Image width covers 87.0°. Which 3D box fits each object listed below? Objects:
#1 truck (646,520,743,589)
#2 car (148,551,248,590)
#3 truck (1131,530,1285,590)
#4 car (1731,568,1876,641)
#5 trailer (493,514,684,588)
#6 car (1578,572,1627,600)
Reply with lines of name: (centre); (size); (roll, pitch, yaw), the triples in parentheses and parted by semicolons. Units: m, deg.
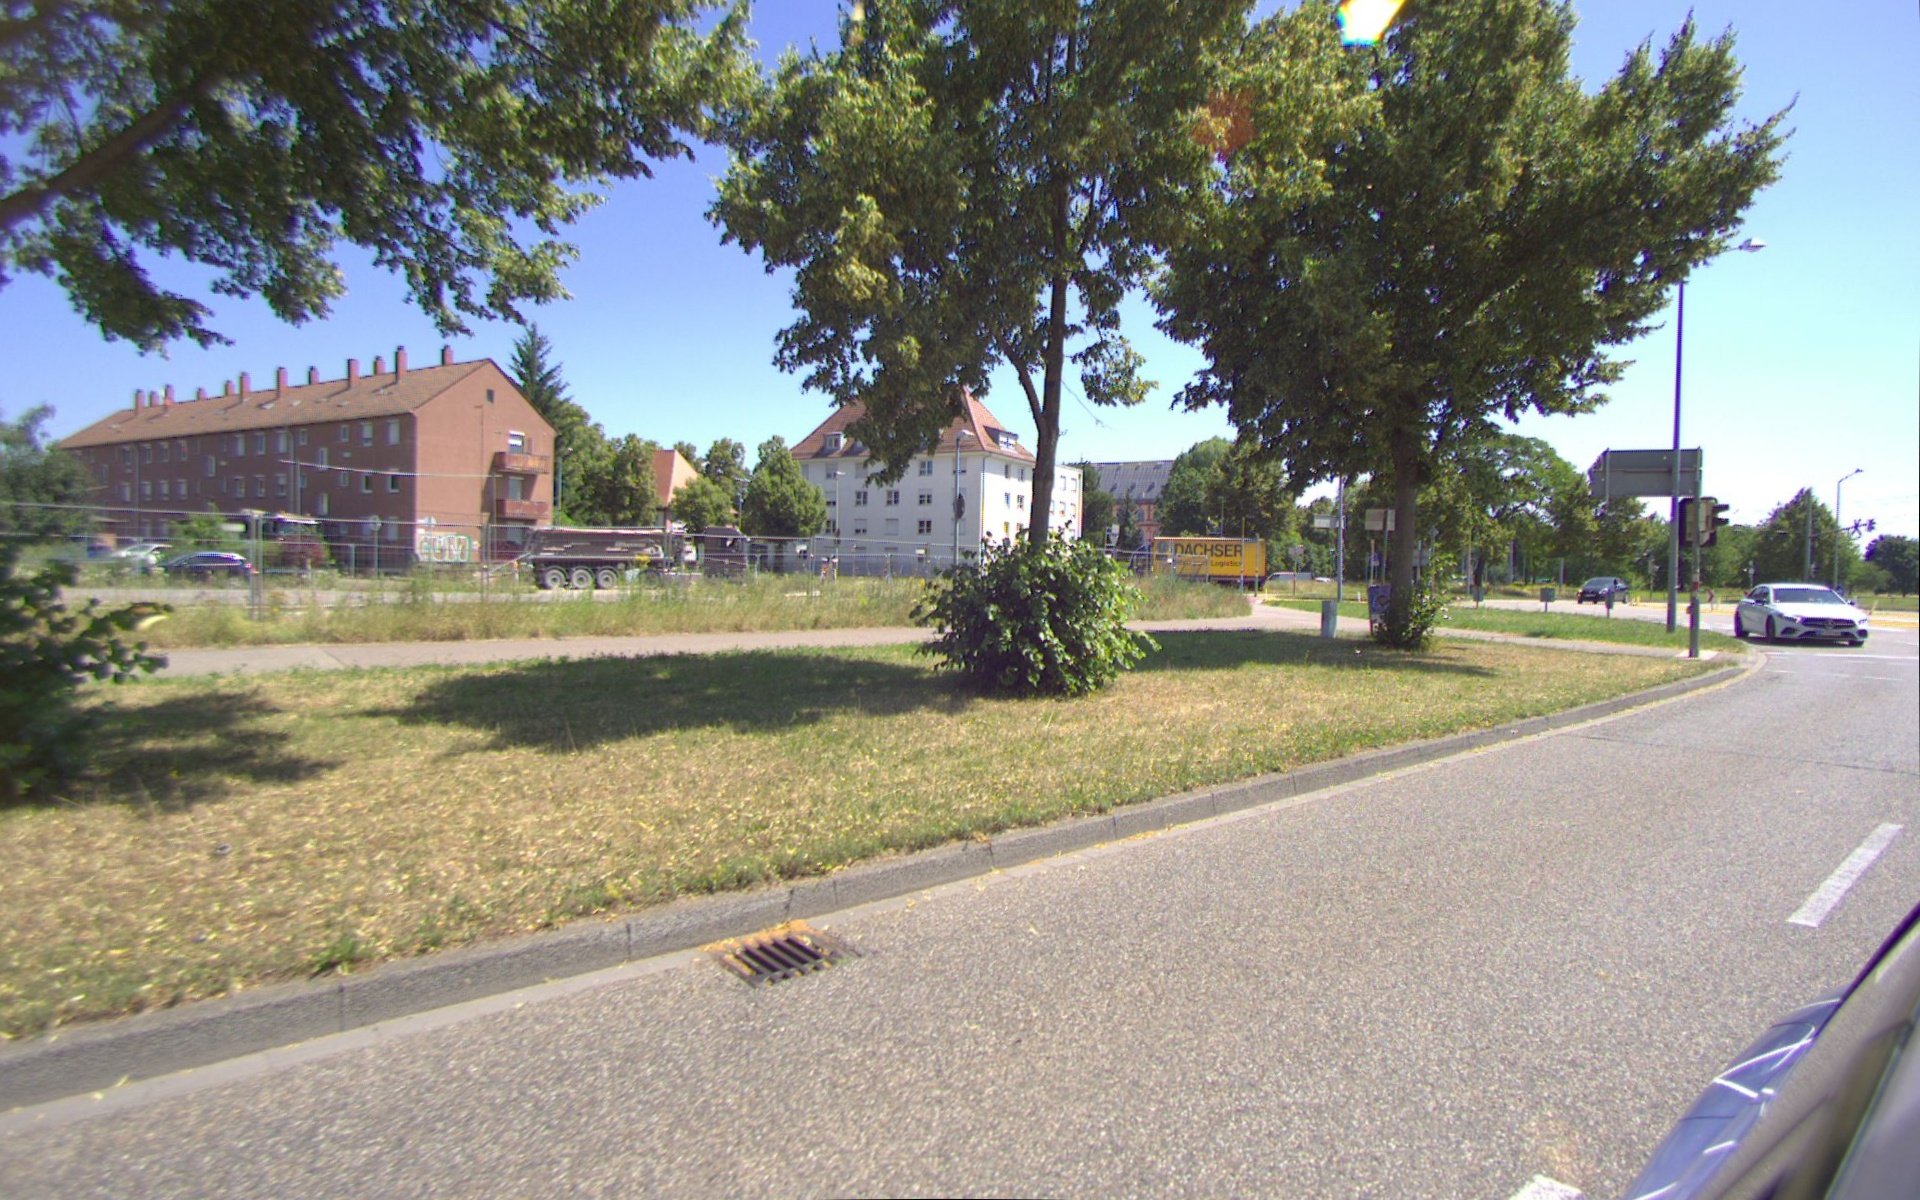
truck: (-14.292, -2.446, 54.827); (4.861, 3.576, 3.171); (1, 2, -11)
car: (-32.837, -1.268, 43.641); (3.359, 1.633, 1.368); (-1, 2, -41)
truck: (15.962, -2.638, 65.823); (9.464, 3.704, 2.699); (1, 1, 11)
car: (20.661, 0.050, 24.973); (1.762, 1.564, 3.932); (0, 3, 25)
trailer: (-19.183, -2.444, 52.528); (8.822, 3.576, 3.165); (0, 2, -35)
car: (34.975, -0.785, 55.061); (1.968, 1.435, 3.948); (2, 2, 36)
